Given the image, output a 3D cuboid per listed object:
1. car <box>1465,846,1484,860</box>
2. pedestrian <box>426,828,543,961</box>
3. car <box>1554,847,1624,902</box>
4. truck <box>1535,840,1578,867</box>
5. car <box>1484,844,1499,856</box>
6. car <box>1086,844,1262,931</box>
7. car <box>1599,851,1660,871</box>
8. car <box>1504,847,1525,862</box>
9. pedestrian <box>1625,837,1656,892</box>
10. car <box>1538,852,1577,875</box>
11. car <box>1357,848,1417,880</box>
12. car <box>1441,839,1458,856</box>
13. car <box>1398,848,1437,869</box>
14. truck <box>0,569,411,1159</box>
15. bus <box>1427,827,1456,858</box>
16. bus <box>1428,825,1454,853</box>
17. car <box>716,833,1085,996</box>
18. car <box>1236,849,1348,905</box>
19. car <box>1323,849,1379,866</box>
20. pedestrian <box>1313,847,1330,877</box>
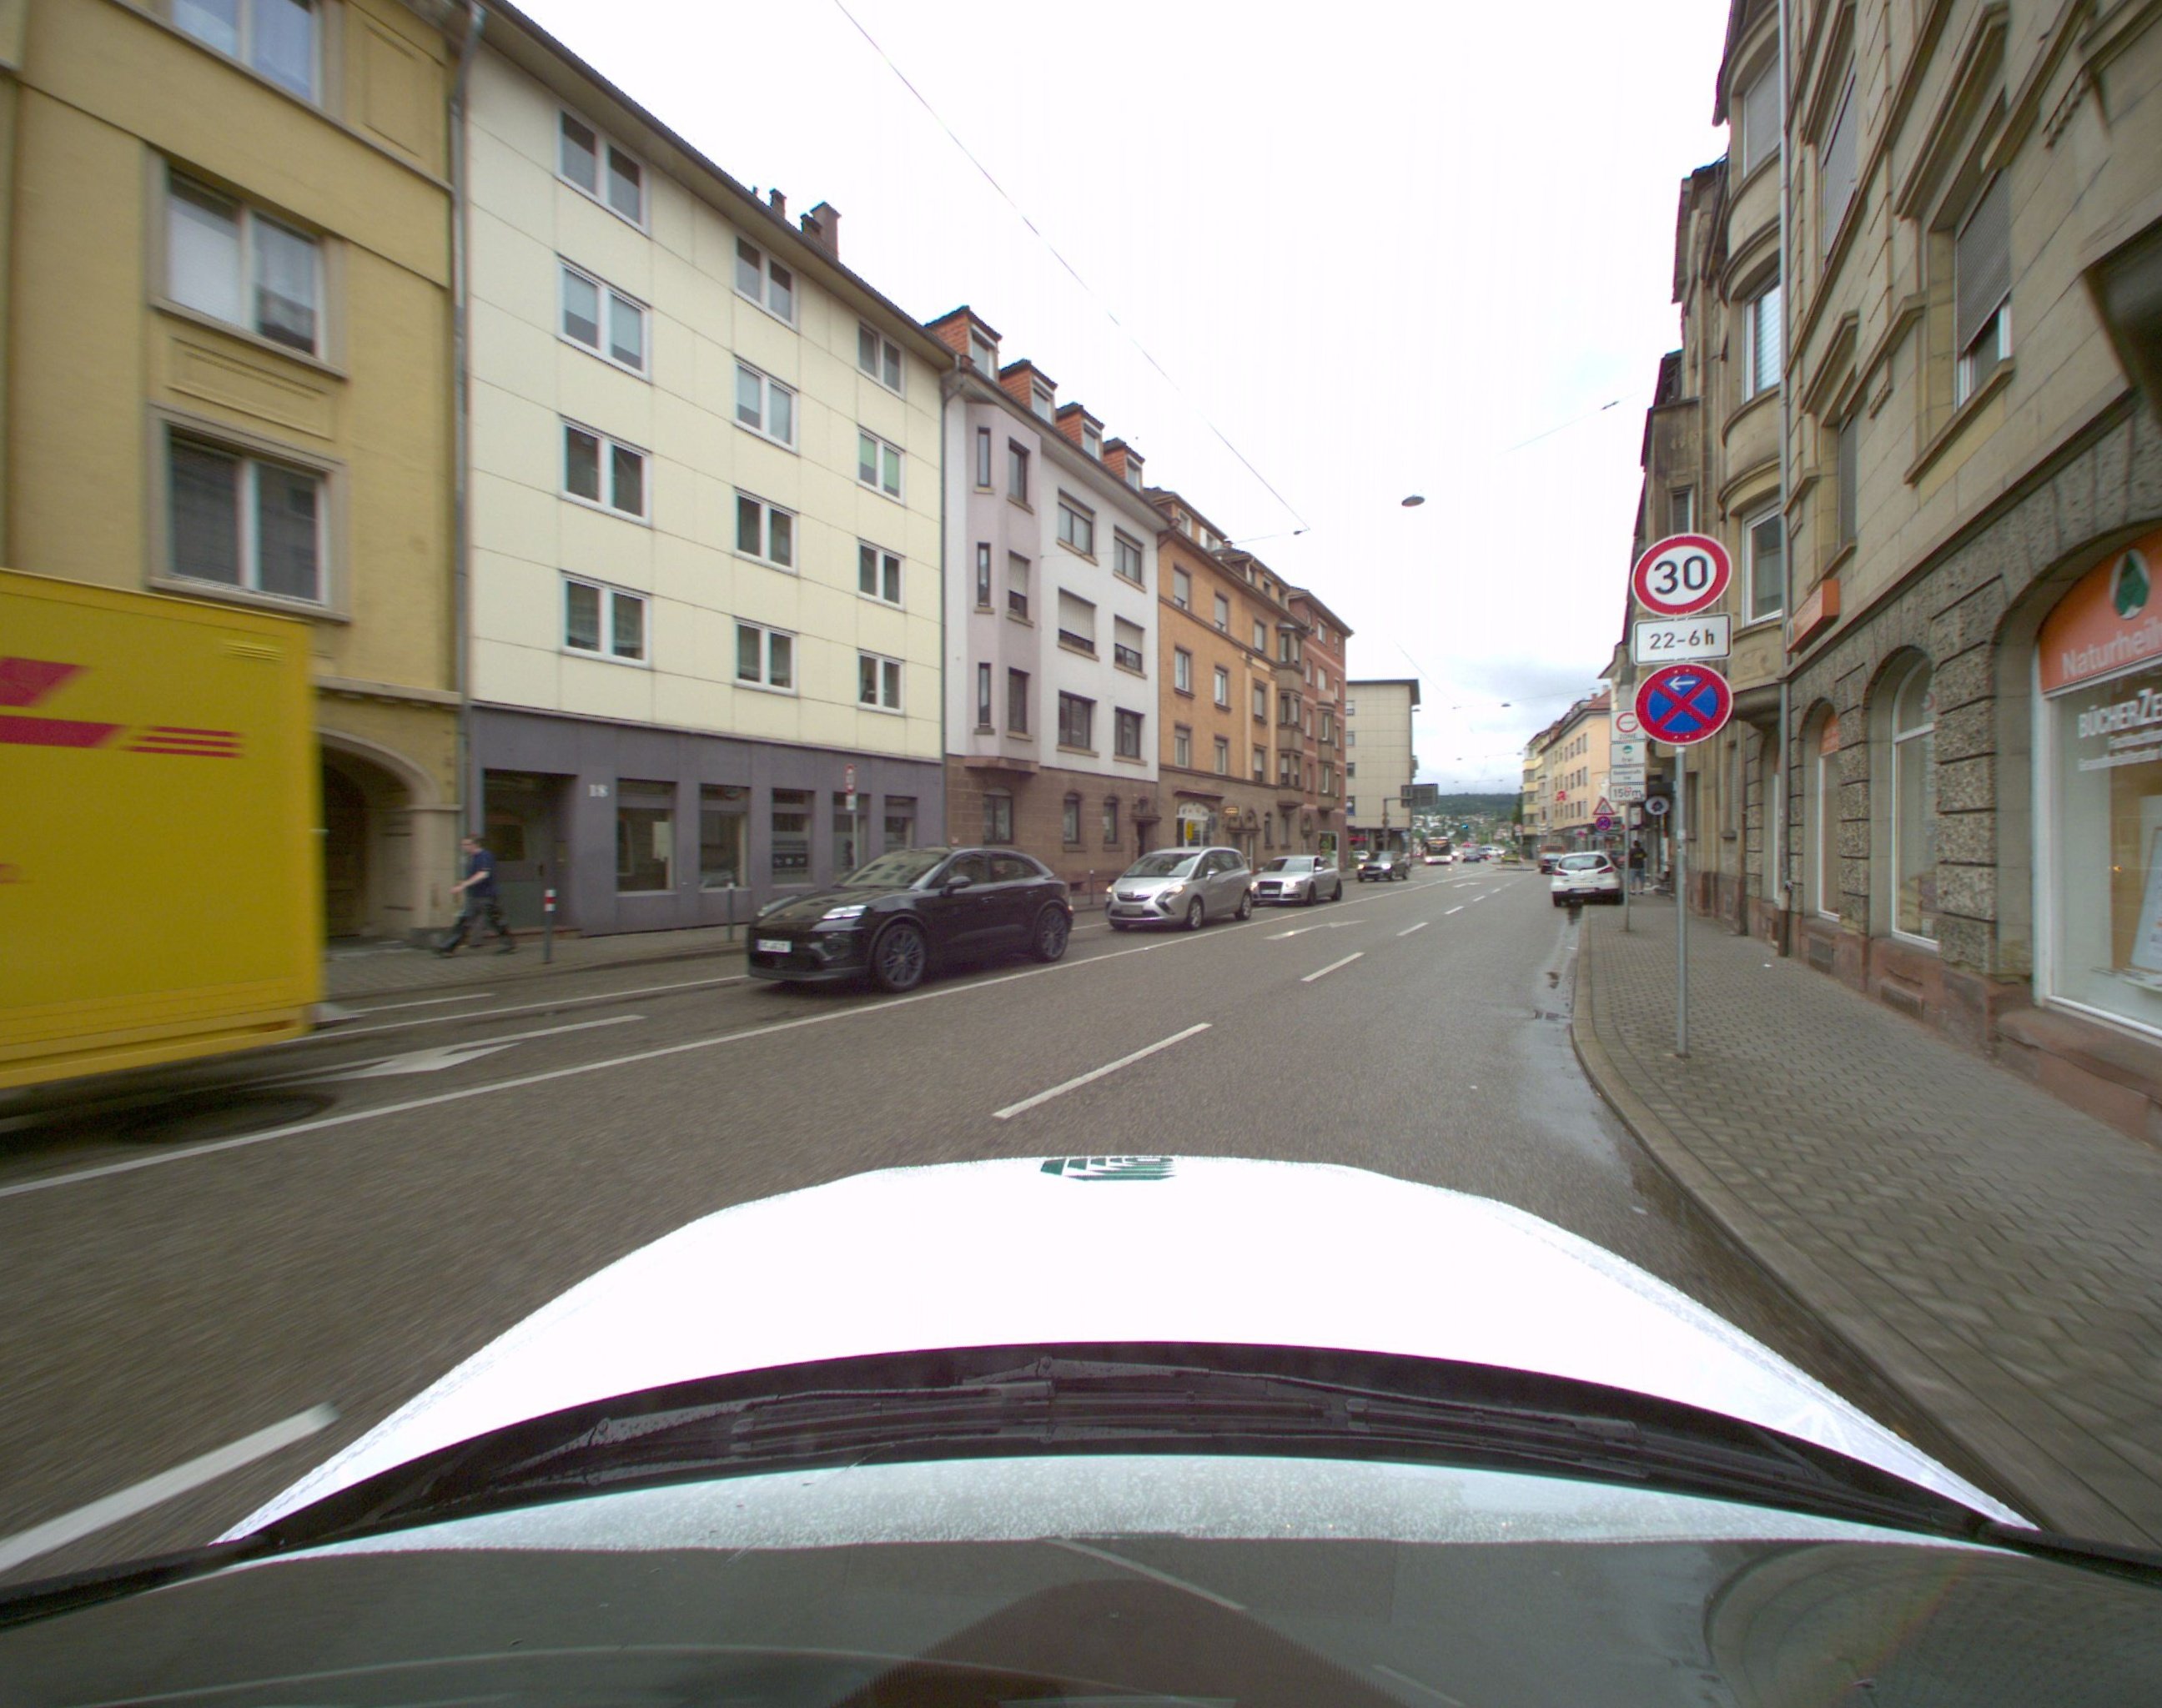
[{"bbox_3d":[45.639,-0.104,94.510,1.739,1.651,4.330,-1,0,23],"label":"car"},{"bbox_3d":[-8.600,0.547,11.762,0.884,1.770,1.039,4,2,30],"label":"pedestrian"},{"bbox_3d":[15.206,0.572,24.298,1.631,1.494,4.476,-1,-1,33],"label":"car"},{"bbox_3d":[38.807,0.000,66.538,2.378,2.129,5.344,-1,0,23],"label":"truck"},{"bbox_3d":[61.306,-0.571,121.624,1.738,1.651,4.022,-1,0,24],"label":"car"},{"bbox_3d":[2.100,0.616,17.114,1.924,1.583,4.549,-1,-1,31],"label":"car"},{"bbox_3d":[44.017,0.580,65.450,3.790,1.574,1.948,-1,-1,26],"label":"car"},{"bbox_3d":[49.280,0.040,92.654,1.738,1.651,4.022,-1,0,24],"label":"car"},{"bbox_3d":[18.360,0.347,26.736,0.737,1.779,0.800,-1,-1,30],"label":"pedestrian"},{"bbox_3d":[31.026,0.601,53.154,1.738,1.479,4.022,-1,0,24],"label":"car"},{"bbox_3d":[16.282,0.528,43.170,1.962,1.595,4.365,-1,-1,35],"label":"car"},{"bbox_3d":[52.890,-0.909,116.940,2.067,2.435,6.389,-1,0,25],"label":"car"},{"bbox_3d":[24.648,0.316,59.568,1.832,1.397,4.823,3,2,32],"label":"car"},{"bbox_3d":[-6.991,0.050,2.663,2.206,2.750,7.068,-1,-1,31],"label":"truck"},{"bbox_3d":[39.907,-1.182,90.258,2.734,3.188,8.961,-1,0,23],"label":"bus"},{"bbox_3d":[43.566,-1.781,98.704,2.701,3.188,9.344,-1,0,23],"label":"bus"},{"bbox_3d":[-1.975,0.603,10.420,1.924,1.583,4.634,-1,-1,31],"label":"car"},{"bbox_3d":[6.296,0.628,23.963,1.924,1.470,4.588,-1,-1,31],"label":"car"},{"bbox_3d":[25.048,0.300,75.692,4.608,1.533,1.908,0,-1,3],"label":"car"},{"bbox_3d":[14.000,0.470,47.476,0.835,1.679,0.857,2,0,19],"label":"pedestrian"}]
